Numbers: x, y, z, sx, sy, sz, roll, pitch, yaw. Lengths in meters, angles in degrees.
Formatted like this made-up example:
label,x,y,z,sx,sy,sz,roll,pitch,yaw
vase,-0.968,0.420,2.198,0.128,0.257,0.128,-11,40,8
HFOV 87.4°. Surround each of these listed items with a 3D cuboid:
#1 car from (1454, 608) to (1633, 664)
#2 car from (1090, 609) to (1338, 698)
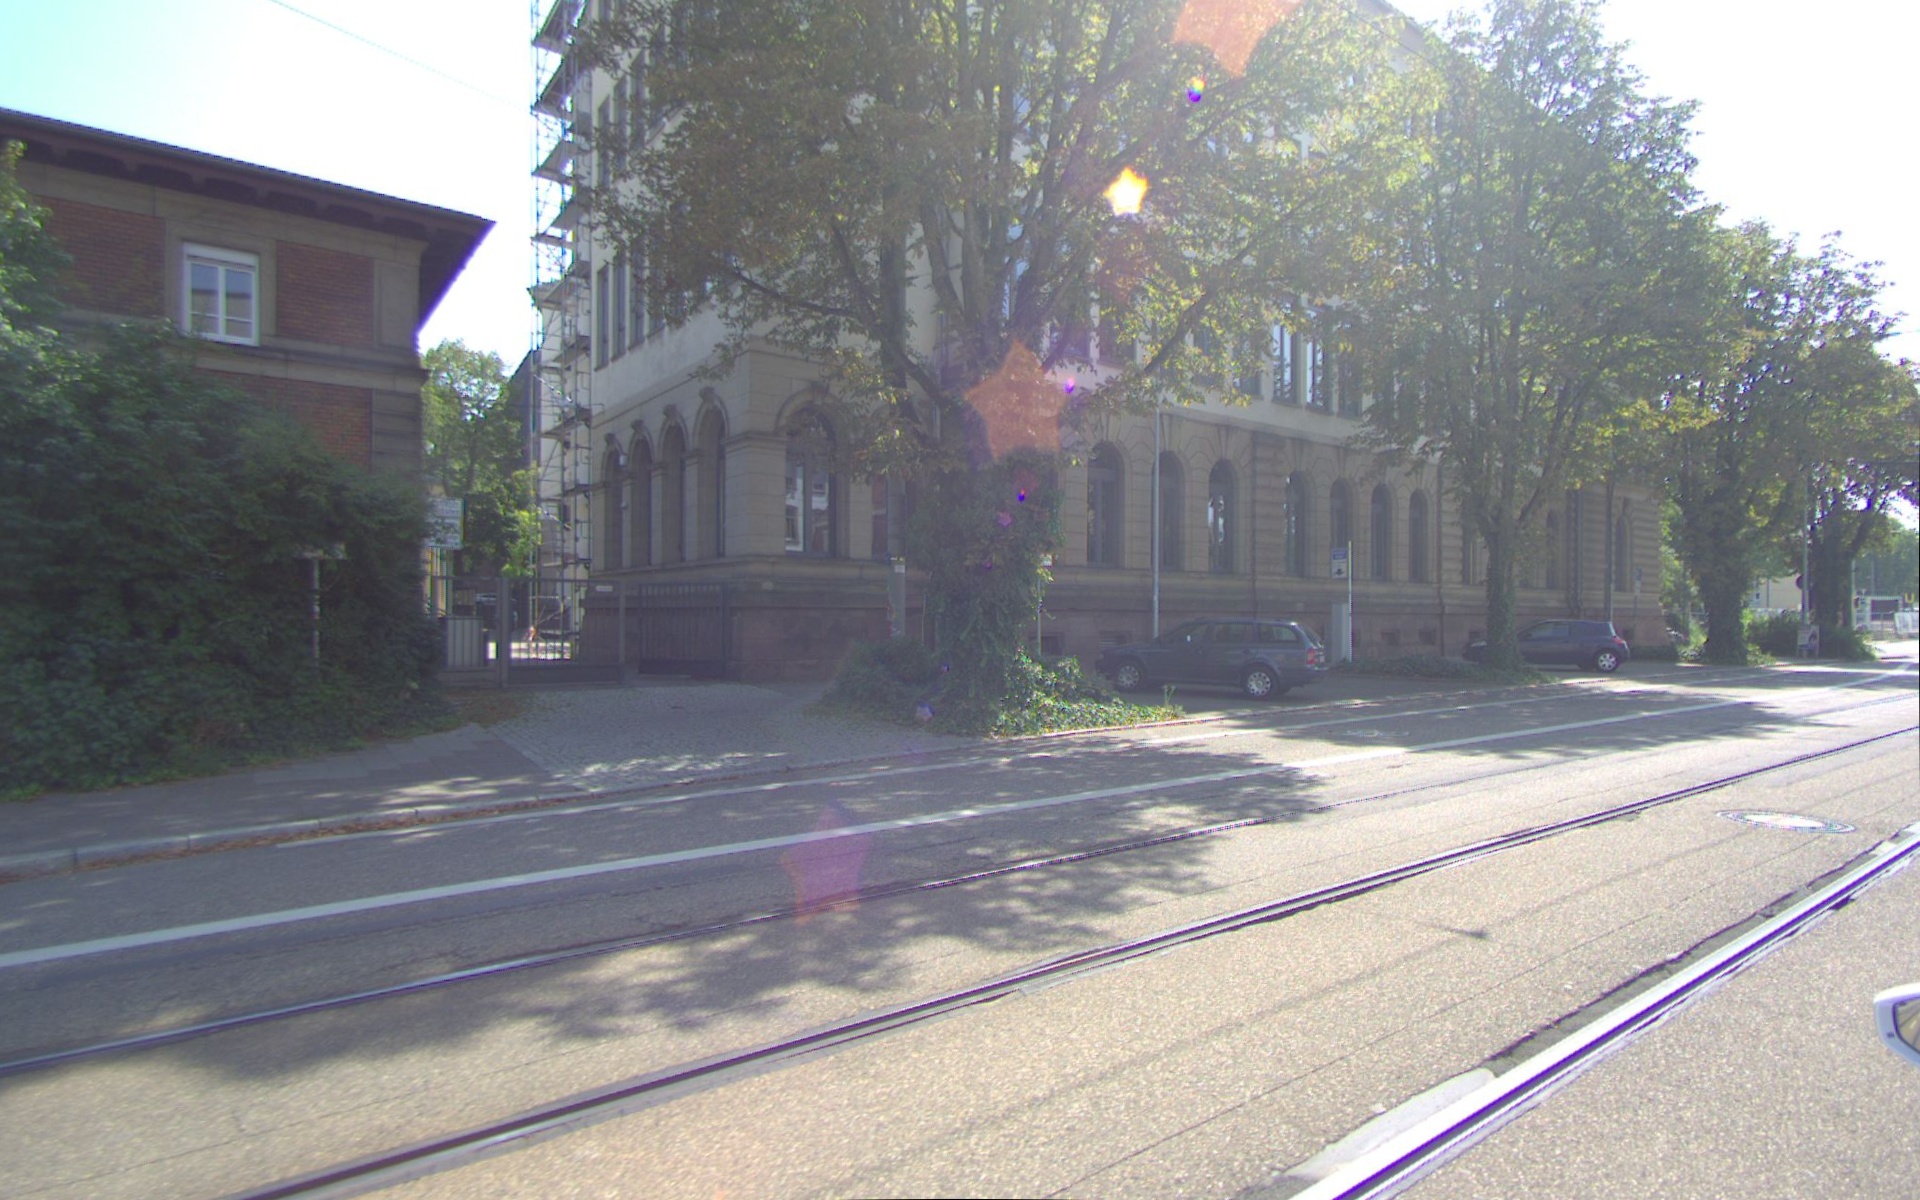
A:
label,x,y,z,sx,sy,sz,roll,pitch,yaw
car,16.533,0.992,28.688,4.080,1.516,1.821,0,0,17
car,4.892,0.955,19.431,4.347,1.481,1.819,1,0,27
